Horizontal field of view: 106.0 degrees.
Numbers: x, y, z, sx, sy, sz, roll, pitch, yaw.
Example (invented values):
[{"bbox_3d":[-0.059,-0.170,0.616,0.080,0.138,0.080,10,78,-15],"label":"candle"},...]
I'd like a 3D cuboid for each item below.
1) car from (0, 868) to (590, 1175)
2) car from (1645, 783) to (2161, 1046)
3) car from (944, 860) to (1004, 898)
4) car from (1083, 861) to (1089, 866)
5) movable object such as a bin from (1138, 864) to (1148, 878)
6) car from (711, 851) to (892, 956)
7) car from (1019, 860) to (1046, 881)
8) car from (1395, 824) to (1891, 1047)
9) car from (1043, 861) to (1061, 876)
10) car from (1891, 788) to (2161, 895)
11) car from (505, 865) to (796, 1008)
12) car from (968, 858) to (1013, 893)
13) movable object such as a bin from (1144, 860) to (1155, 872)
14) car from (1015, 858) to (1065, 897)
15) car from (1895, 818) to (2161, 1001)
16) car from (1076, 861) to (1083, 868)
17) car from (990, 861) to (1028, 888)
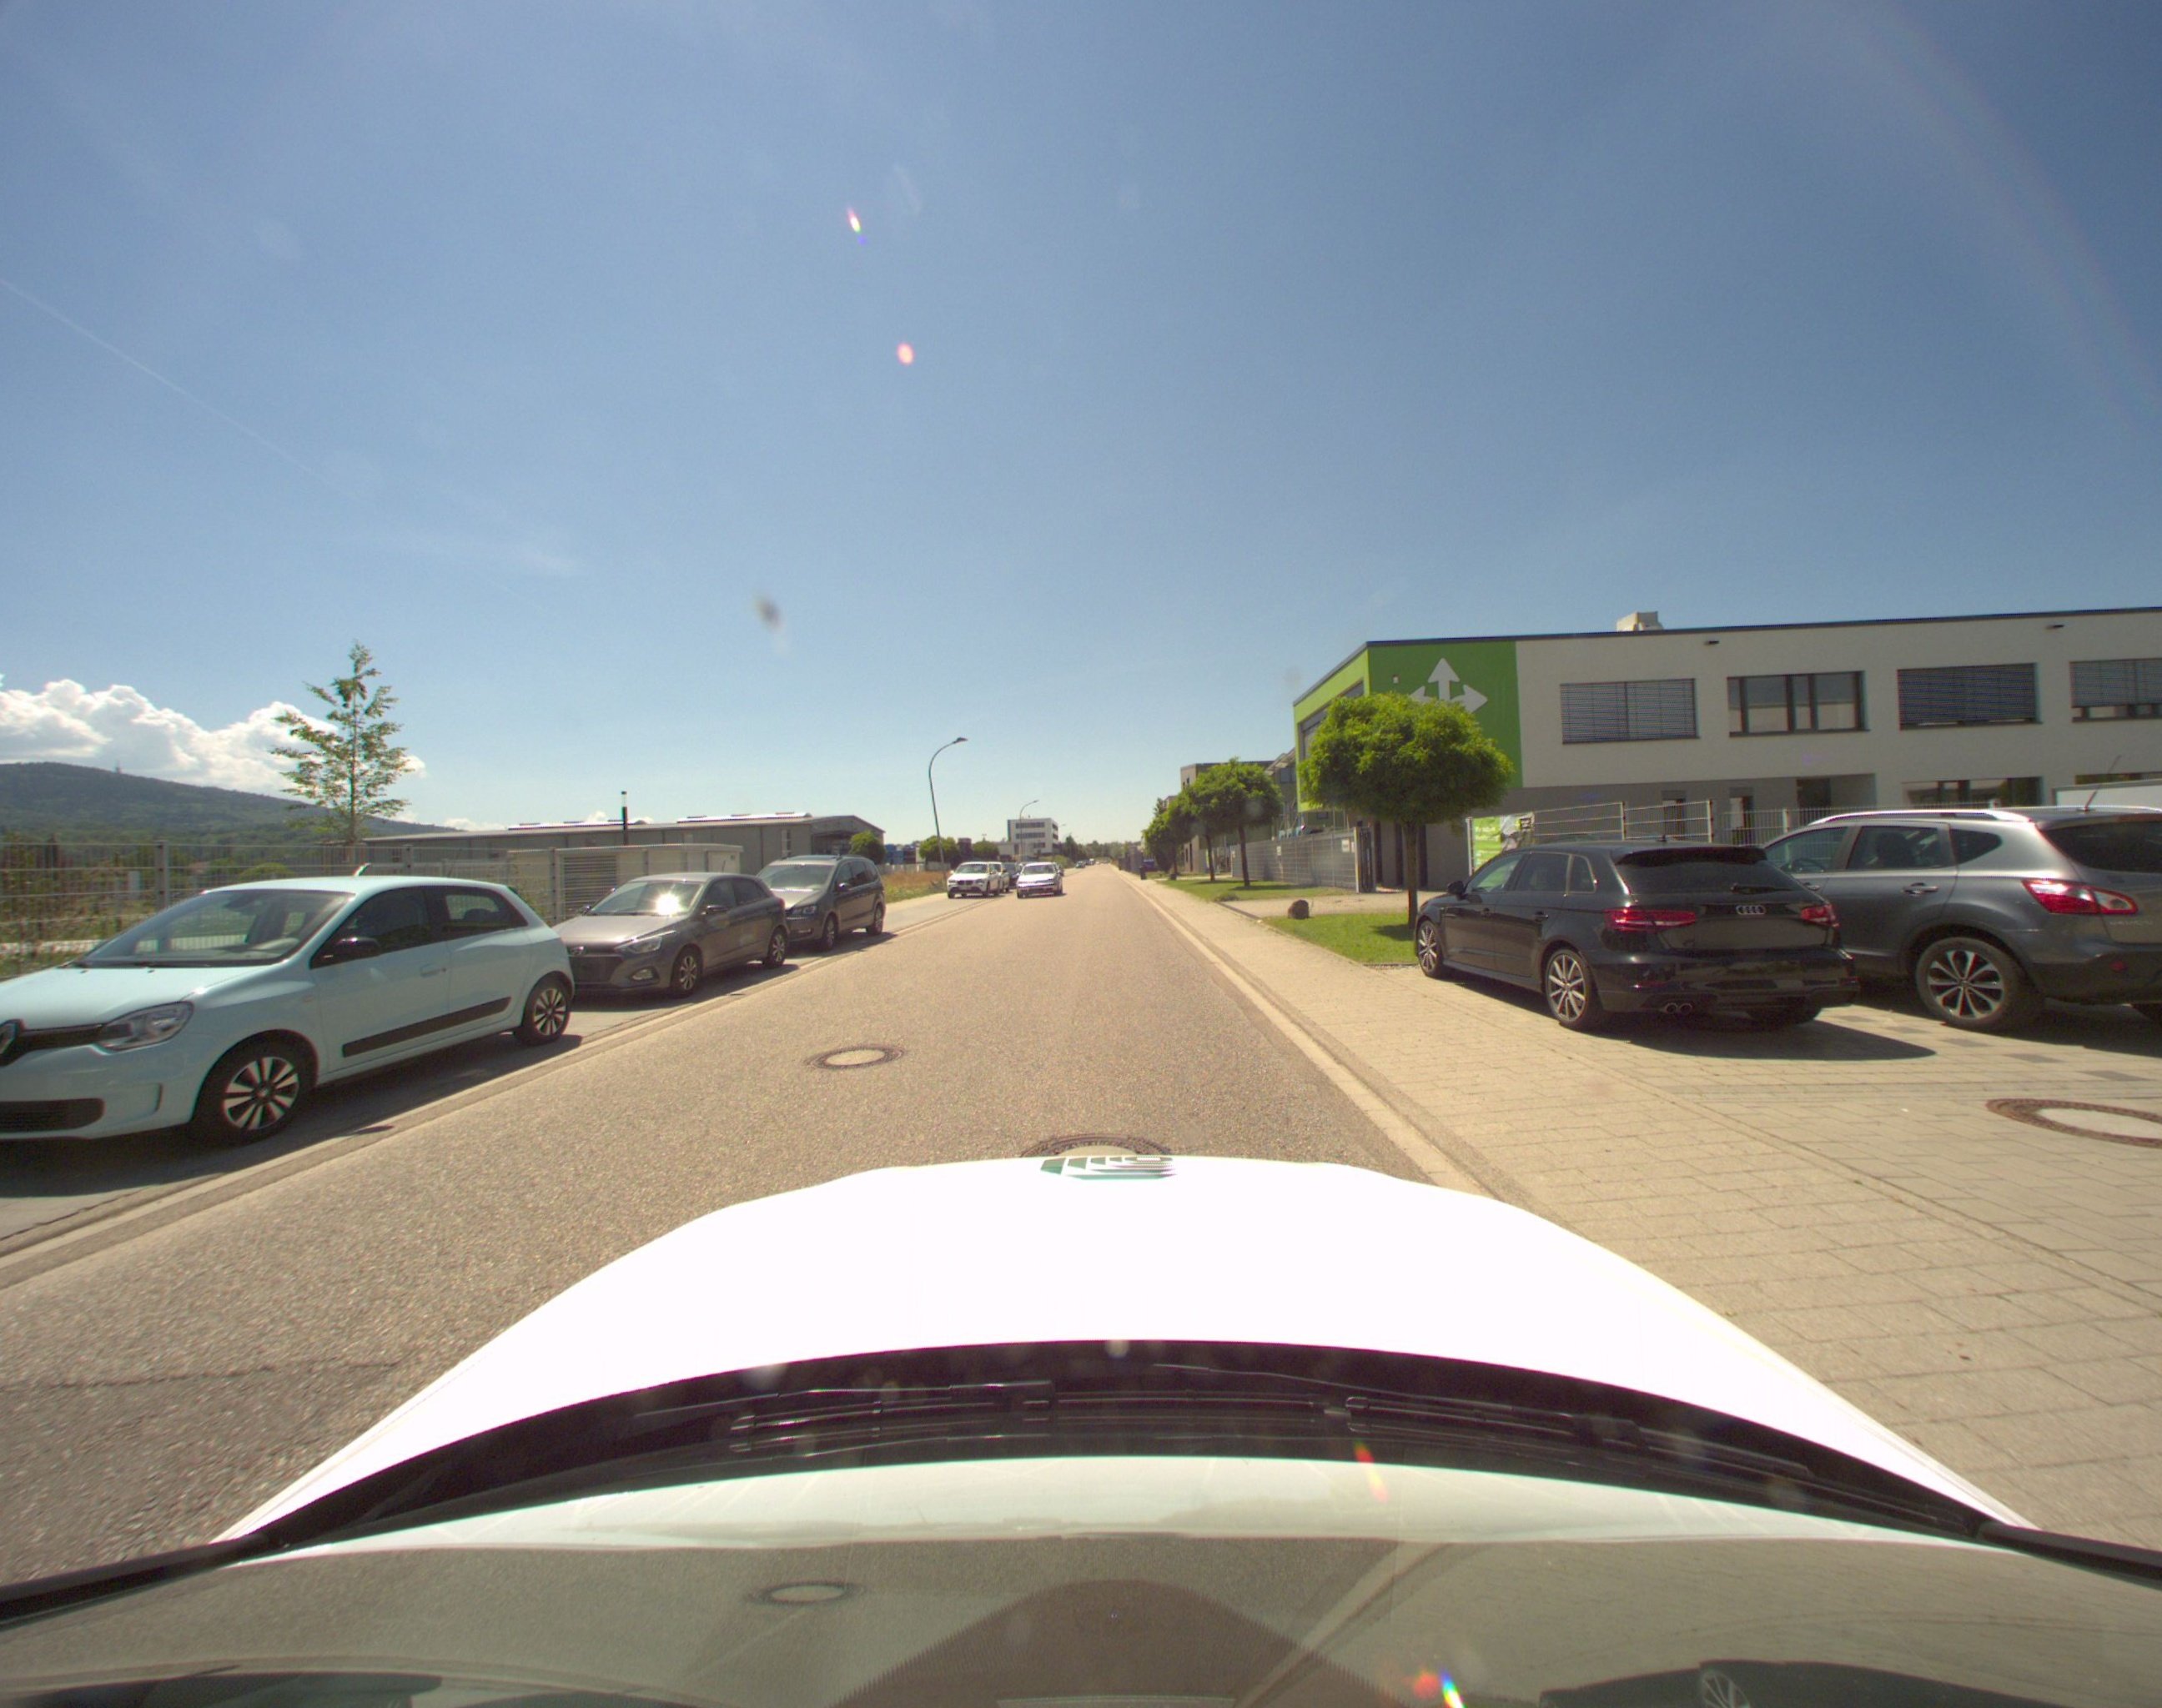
[{"bbox_3d":[-5.621,0.910,6.075,1.629,1.536,3.658,-1,0,1],"label":"car"},{"bbox_3d":[7.161,0.373,7.124,1.716,1.633,4.023,-1,0,1],"label":"car"},{"bbox_3d":[-4.677,1.071,36.200,1.779,1.542,4.368,-2,-1,3],"label":"car"},{"bbox_3d":[1.408,2.862,248.208,1.638,1.490,3.208,-2,-1,2],"label":"car"},{"bbox_3d":[4.337,1.199,56.706,0.549,0.928,0.523,-6,-1,11],"label":"movable object such as a bin"},{"bbox_3d":[-5.208,0.832,15.933,1.796,1.719,4.624,-1,0,2],"label":"car"},{"bbox_3d":[-3.786,1.285,63.976,1.784,1.607,4.463,-1,-1,1],"label":"car"},{"bbox_3d":[4.502,0.544,7.471,1.686,1.428,4.247,-1,0,1],"label":"car"},{"bbox_3d":[-3.115,1.576,87.699,1.763,1.592,4.359,-1,-1,0],"label":"car"},{"bbox_3d":[17.363,-0.157,14.532,1.732,1.637,4.055,-2,-2,1],"label":"car"},{"bbox_3d":[-5.435,0.941,10.943,1.628,1.500,3.974,-1,0,2],"label":"car"},{"bbox_3d":[-4.561,1.065,41.365,1.781,1.656,3.768,-2,-1,1],"label":"car"},{"bbox_3d":[8.663,1.472,103.292,1.329,1.459,0.949,-3,-1,1],"label":"movable object such as a bin"},{"bbox_3d":[-1.691,0.954,35.014,1.698,1.411,4.785,-4,0,1],"label":"car"},{"bbox_3d":[9.389,0.420,6.551,1.716,1.449,4.023,-1,0,1],"label":"car"},{"bbox_3d":[-0.287,2.495,193.233,1.461,1.490,3.208,-2,-1,2],"label":"car"},{"bbox_3d":[-4.277,1.177,48.619,1.757,1.517,4.380,-1,-1,1],"label":"car"}]
